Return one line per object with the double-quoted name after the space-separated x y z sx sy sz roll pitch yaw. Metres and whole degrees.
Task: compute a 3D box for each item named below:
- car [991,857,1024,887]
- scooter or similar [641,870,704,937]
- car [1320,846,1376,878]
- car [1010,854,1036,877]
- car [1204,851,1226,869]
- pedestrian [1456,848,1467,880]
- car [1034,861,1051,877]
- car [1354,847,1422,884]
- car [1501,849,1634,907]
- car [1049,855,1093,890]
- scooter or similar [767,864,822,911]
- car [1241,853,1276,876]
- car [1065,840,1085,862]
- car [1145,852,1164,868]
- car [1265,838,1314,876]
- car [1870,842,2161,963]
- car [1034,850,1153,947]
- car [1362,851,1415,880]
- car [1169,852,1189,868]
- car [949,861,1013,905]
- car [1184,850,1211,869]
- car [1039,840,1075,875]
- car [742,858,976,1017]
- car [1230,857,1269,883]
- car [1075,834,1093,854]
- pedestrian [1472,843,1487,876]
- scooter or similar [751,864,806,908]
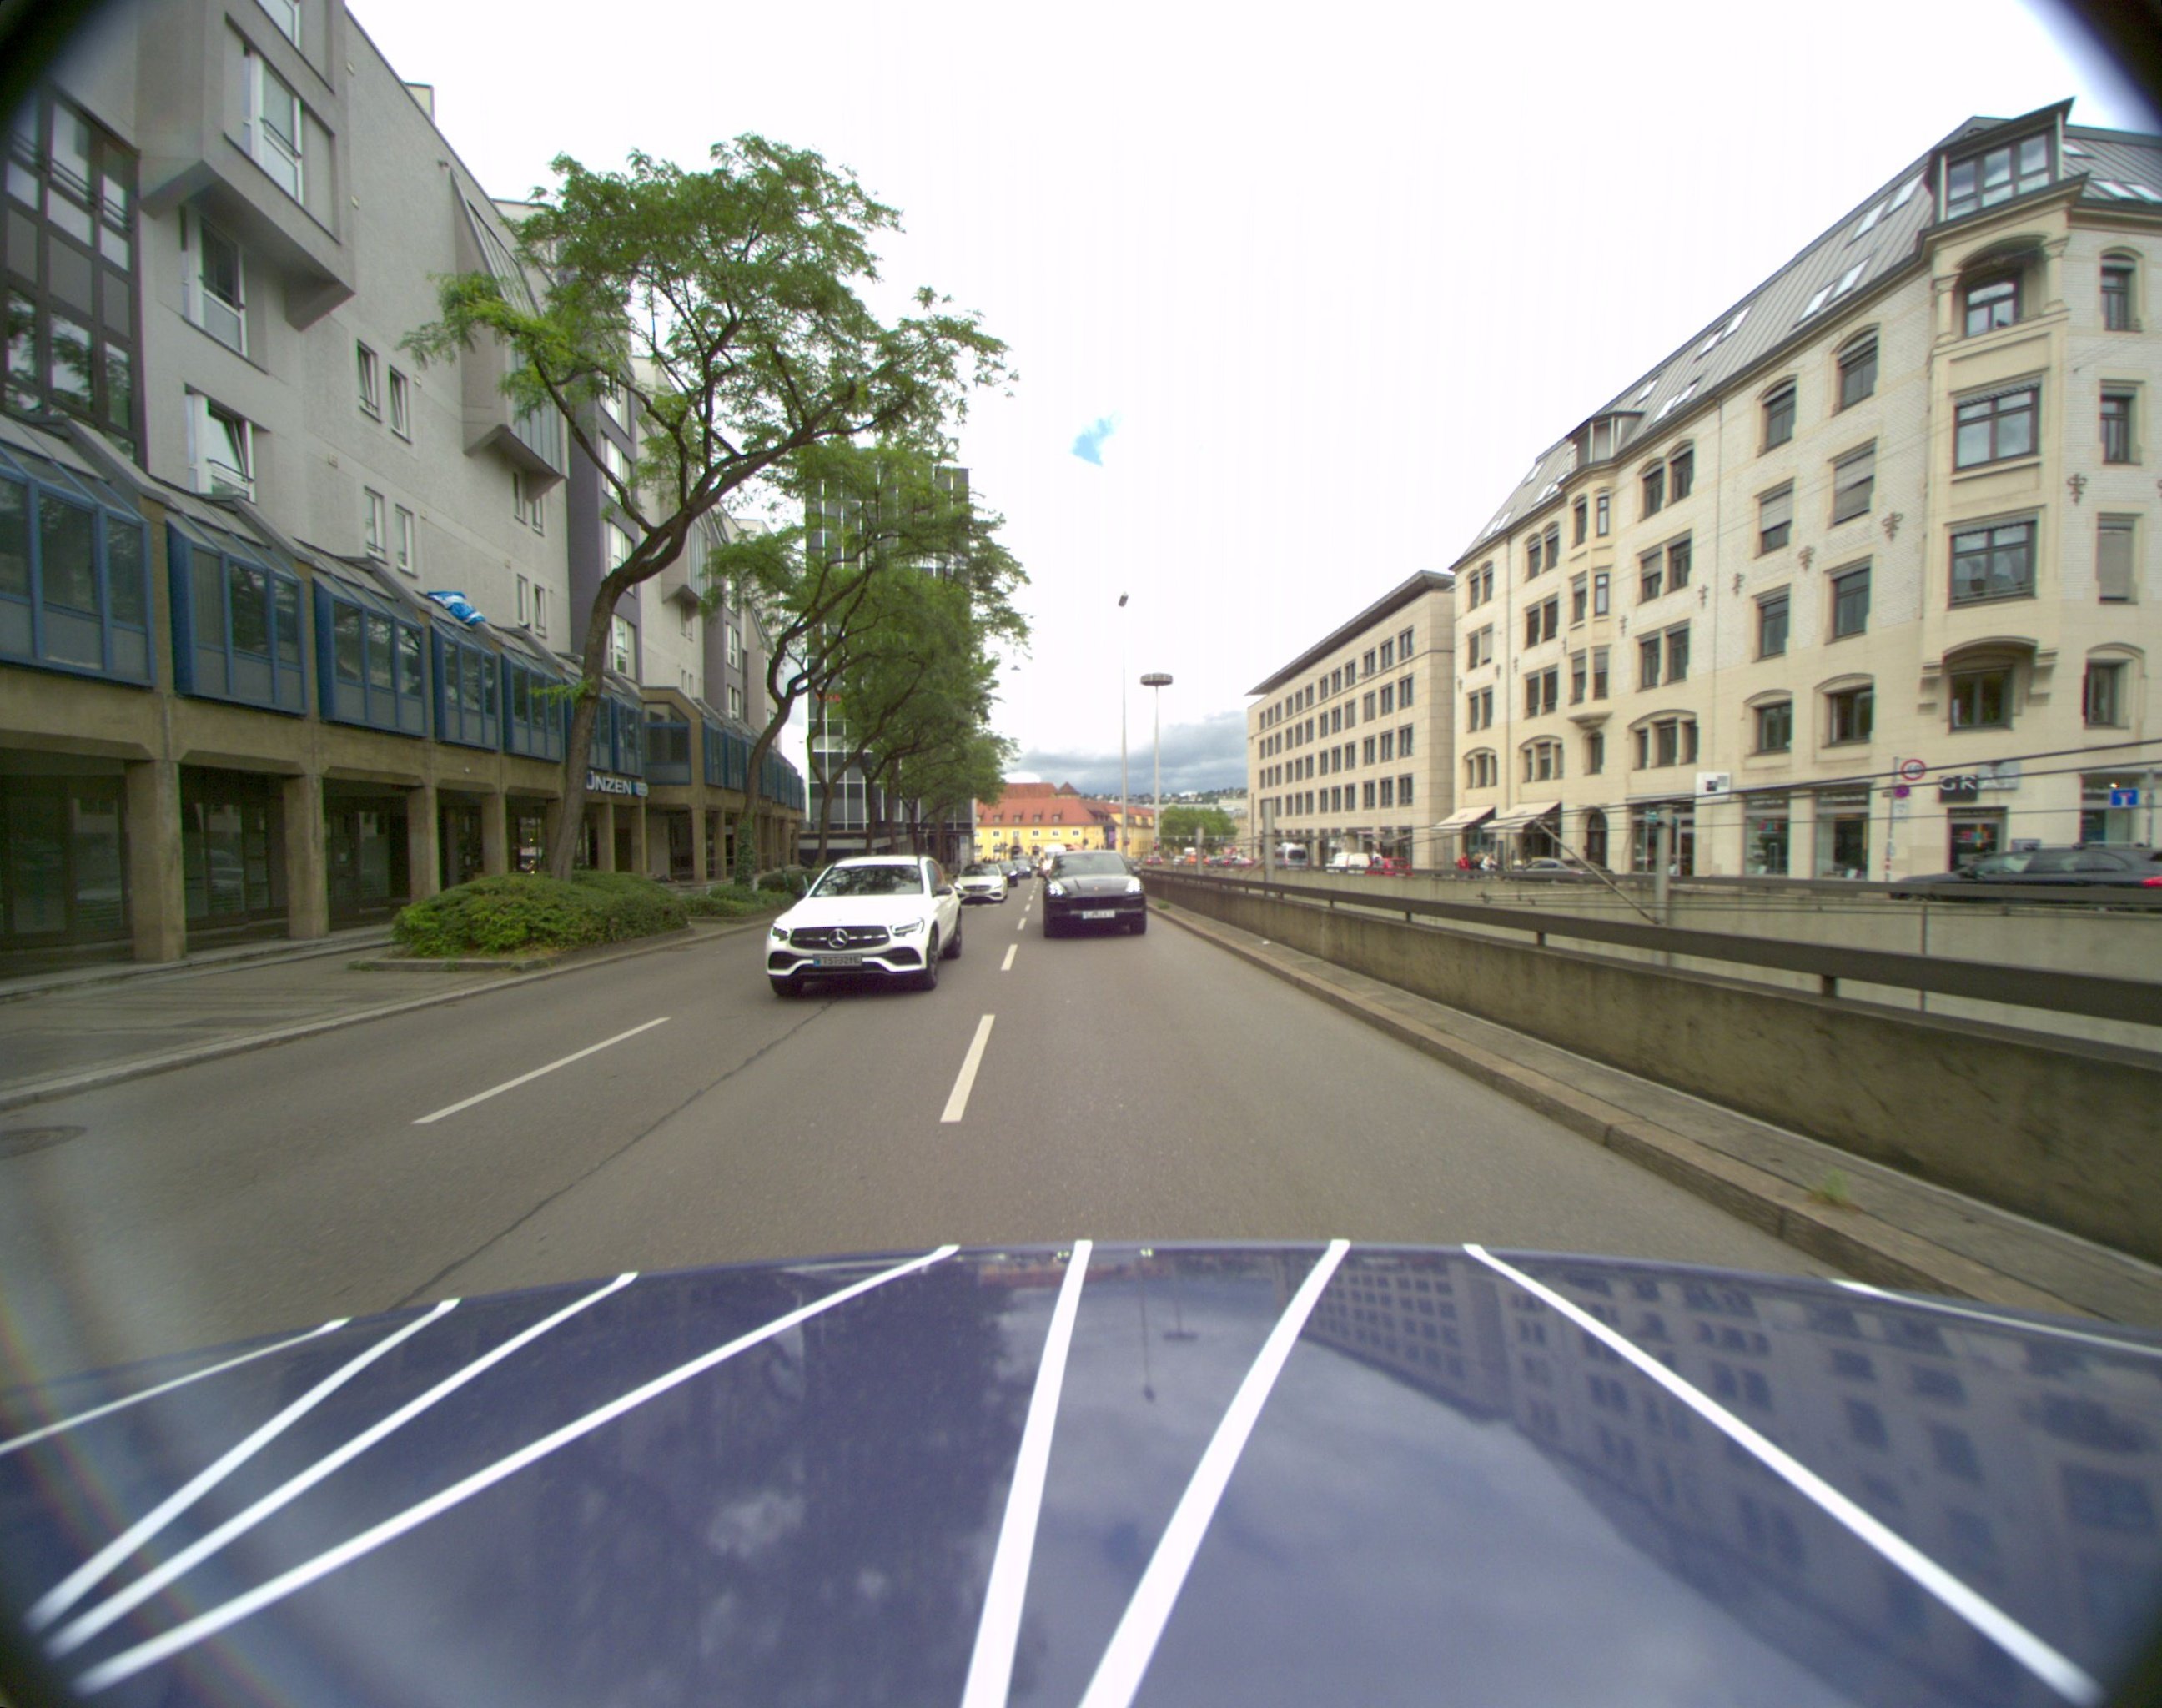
-4.242 1.009 44.446 1.640 1.602 3.659 -2 1 -2 "car"
-9.003 1.082 16.754 1.180 1.426 0.577 -2 1 25 "scooter or similar"
18.055 0.499 51.636 1.999 2.002 4.789 -2 1 -2 "car"
-4.691 0.931 62.254 1.890 1.674 4.608 -2 1 -2 "car"
16.010 0.706 90.939 1.999 2.002 3.999 0 0 -1 "car"
20.835 0.537 41.596 0.510 1.769 0.578 -1 1 22 "pedestrian"
-4.529 1.728 90.350 1.890 1.674 4.608 -2 1 -2 "car"
18.238 0.616 45.411 1.999 2.002 4.789 -2 1 -2 "car"
18.926 0.837 29.880 1.999 2.002 4.789 -2 1 -2 "car"
-0.484 0.860 37.209 1.949 1.521 3.999 -2 1 -1 "car"
-9.431 1.075 25.042 1.536 1.426 0.686 -3 1 -33 "scooter or similar"
16.854 0.939 72.305 1.999 2.002 4.789 -2 1 -2 "car"
-0.807 -0.439 103.509 2.503 2.793 5.727 -2 1 0 "car"
9.113 0.744 94.598 1.999 2.002 3.999 0 0 -1 "car"
17.488 0.212 63.972 2.370 3.043 5.468 -2 1 -2 "car"
19.300 0.794 15.183 1.999 2.002 4.789 -2 1 -2 "car"
0.142 0.803 16.380 2.088 1.665 5.351 -2 0 -2 "car"
21.586 0.781 53.481 1.999 2.002 3.999 0 0 -2 "car"
12.790 0.719 99.381 1.999 2.002 3.999 0 0 -1 "car"
-3.680 1.034 28.699 1.890 1.378 4.608 -2 1 -2 "car"
13.036 0.610 85.075 2.115 2.002 4.789 -2 1 -2 "car"
-1.933 0.267 63.265 2.294 2.723 4.755 -2 1 5 "car"
-2.683 0.922 10.260 2.060 1.599 3.925 -2 1 -2 "car"
14.319 1.341 64.803 1.999 2.002 4.789 -2 1 -2 "car"
0.407 -1.427 110.506 2.503 2.793 5.727 -2 1 0 "car"
22.115 0.304 42.155 0.576 1.769 0.511 -1 1 5 "pedestrian"
-10.418 1.087 26.200 1.600 1.426 0.730 -3 1 -33 "scooter or similar"
